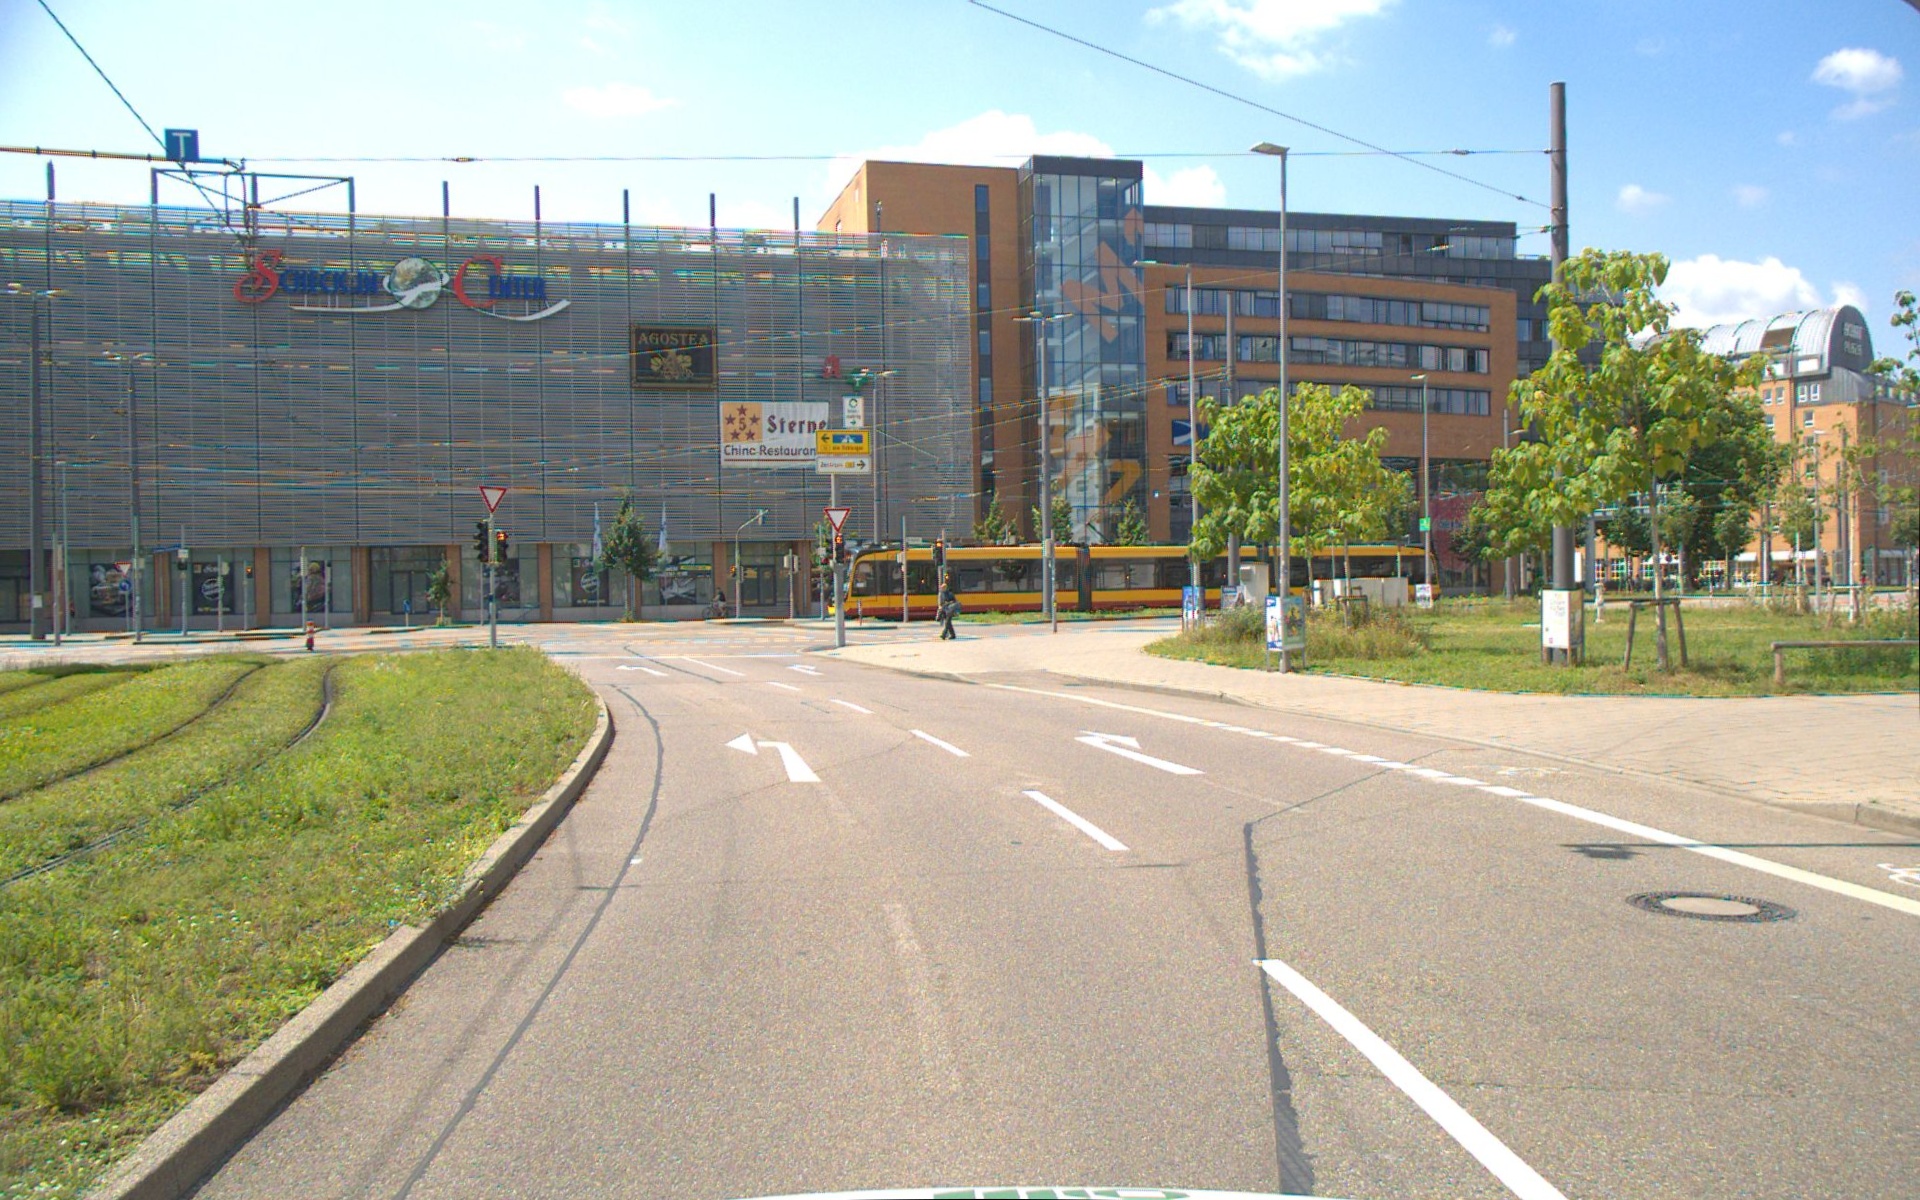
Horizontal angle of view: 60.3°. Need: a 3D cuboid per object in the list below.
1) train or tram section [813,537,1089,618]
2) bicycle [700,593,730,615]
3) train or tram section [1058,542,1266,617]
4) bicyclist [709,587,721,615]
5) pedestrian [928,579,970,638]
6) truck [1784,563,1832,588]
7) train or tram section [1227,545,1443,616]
[{"bbox_3d":[-0.291,-1.028,79.069,13.300,3.662,3.197,0,0,-28],"label":"train or tram section"},{"bbox_3d":[-14.452,0.232,97.629,1.731,1.245,0.582,0,0,-15],"label":"bicycle"},{"bbox_3d":[10.404,-1.001,84.558,10.829,3.666,3.037,0,0,-28],"label":"train or tram section"},{"bbox_3d":[-14.448,0.036,97.621,0.651,1.652,0.548,0,0,-15],"label":"bicyclist"},{"bbox_3d":[-0.337,0.261,49.875,0.802,1.732,0.904,-2,0,-44],"label":"pedestrian"},{"bbox_3d":[72.583,-2.071,141.667,1.951,2.122,5.528,0,0,8],"label":"truck"},{"bbox_3d":[20.474,-1.022,89.875,12.445,3.684,3.038,0,0,-27],"label":"train or tram section"}]
